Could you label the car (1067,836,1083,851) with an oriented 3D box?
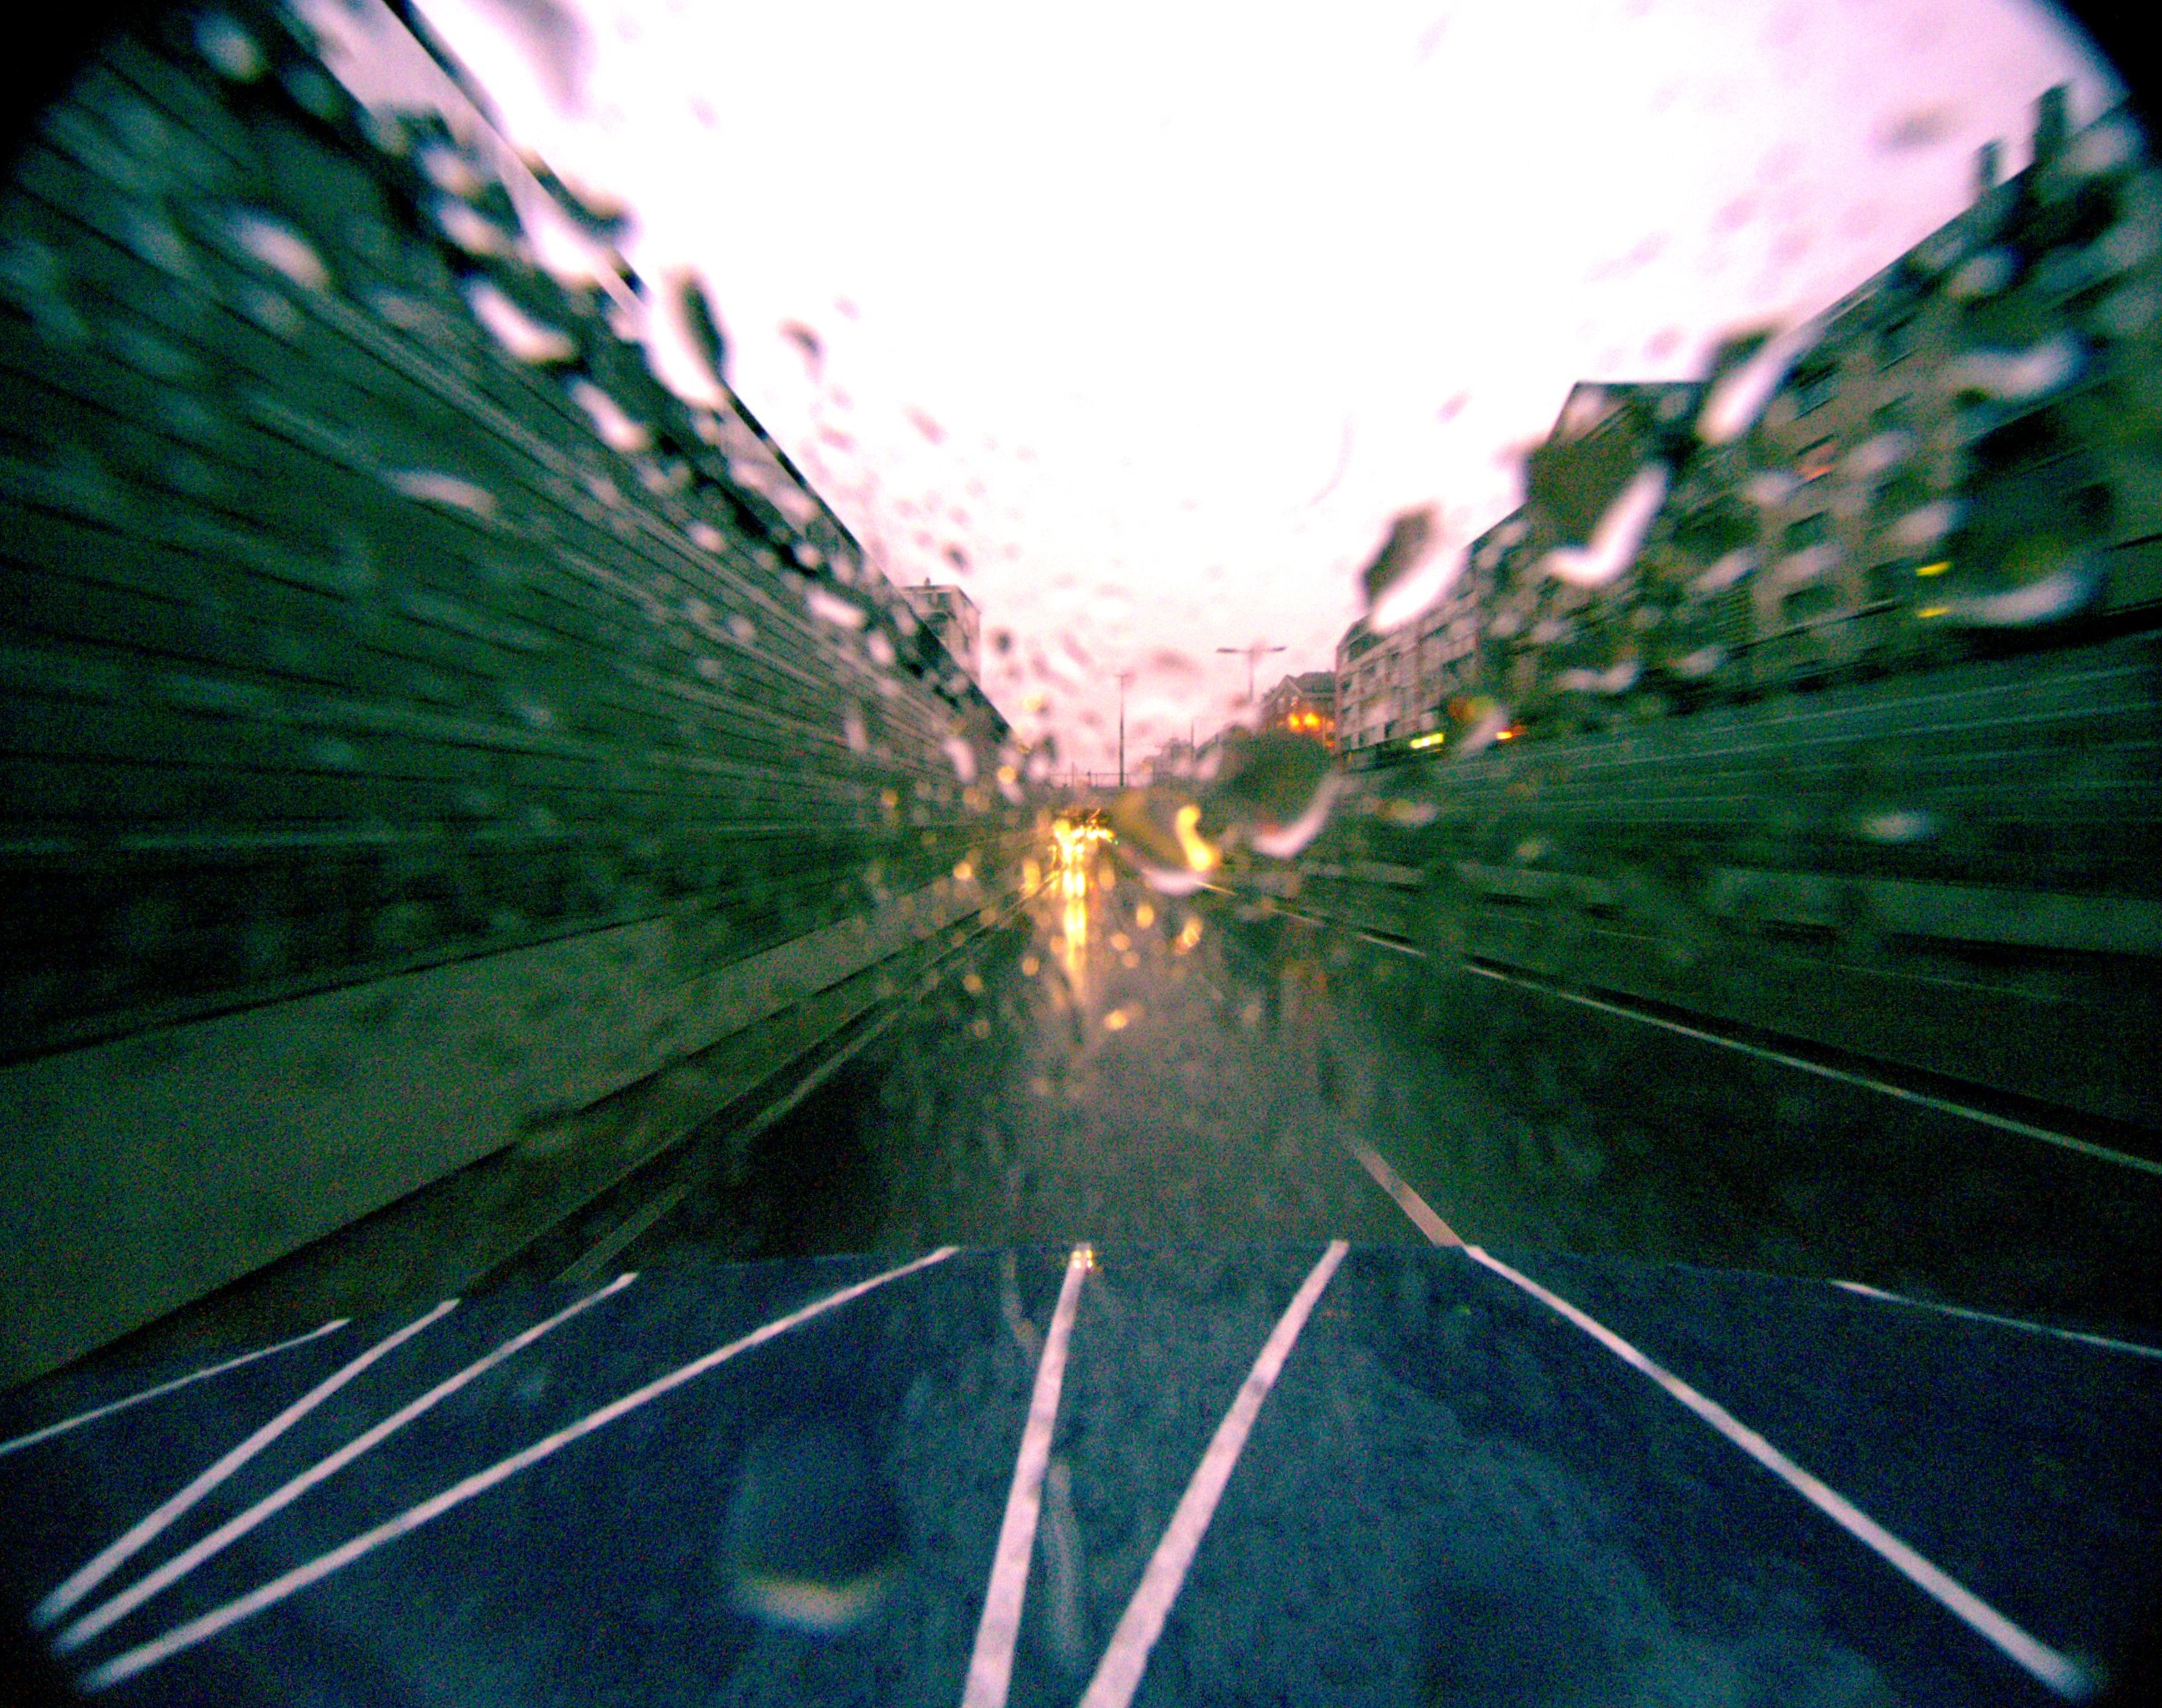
[{"bbox_3d":[-0.869,-1.511,108.687,2.031,2.018,4.422,-2,2,-2],"label":"car"}]
